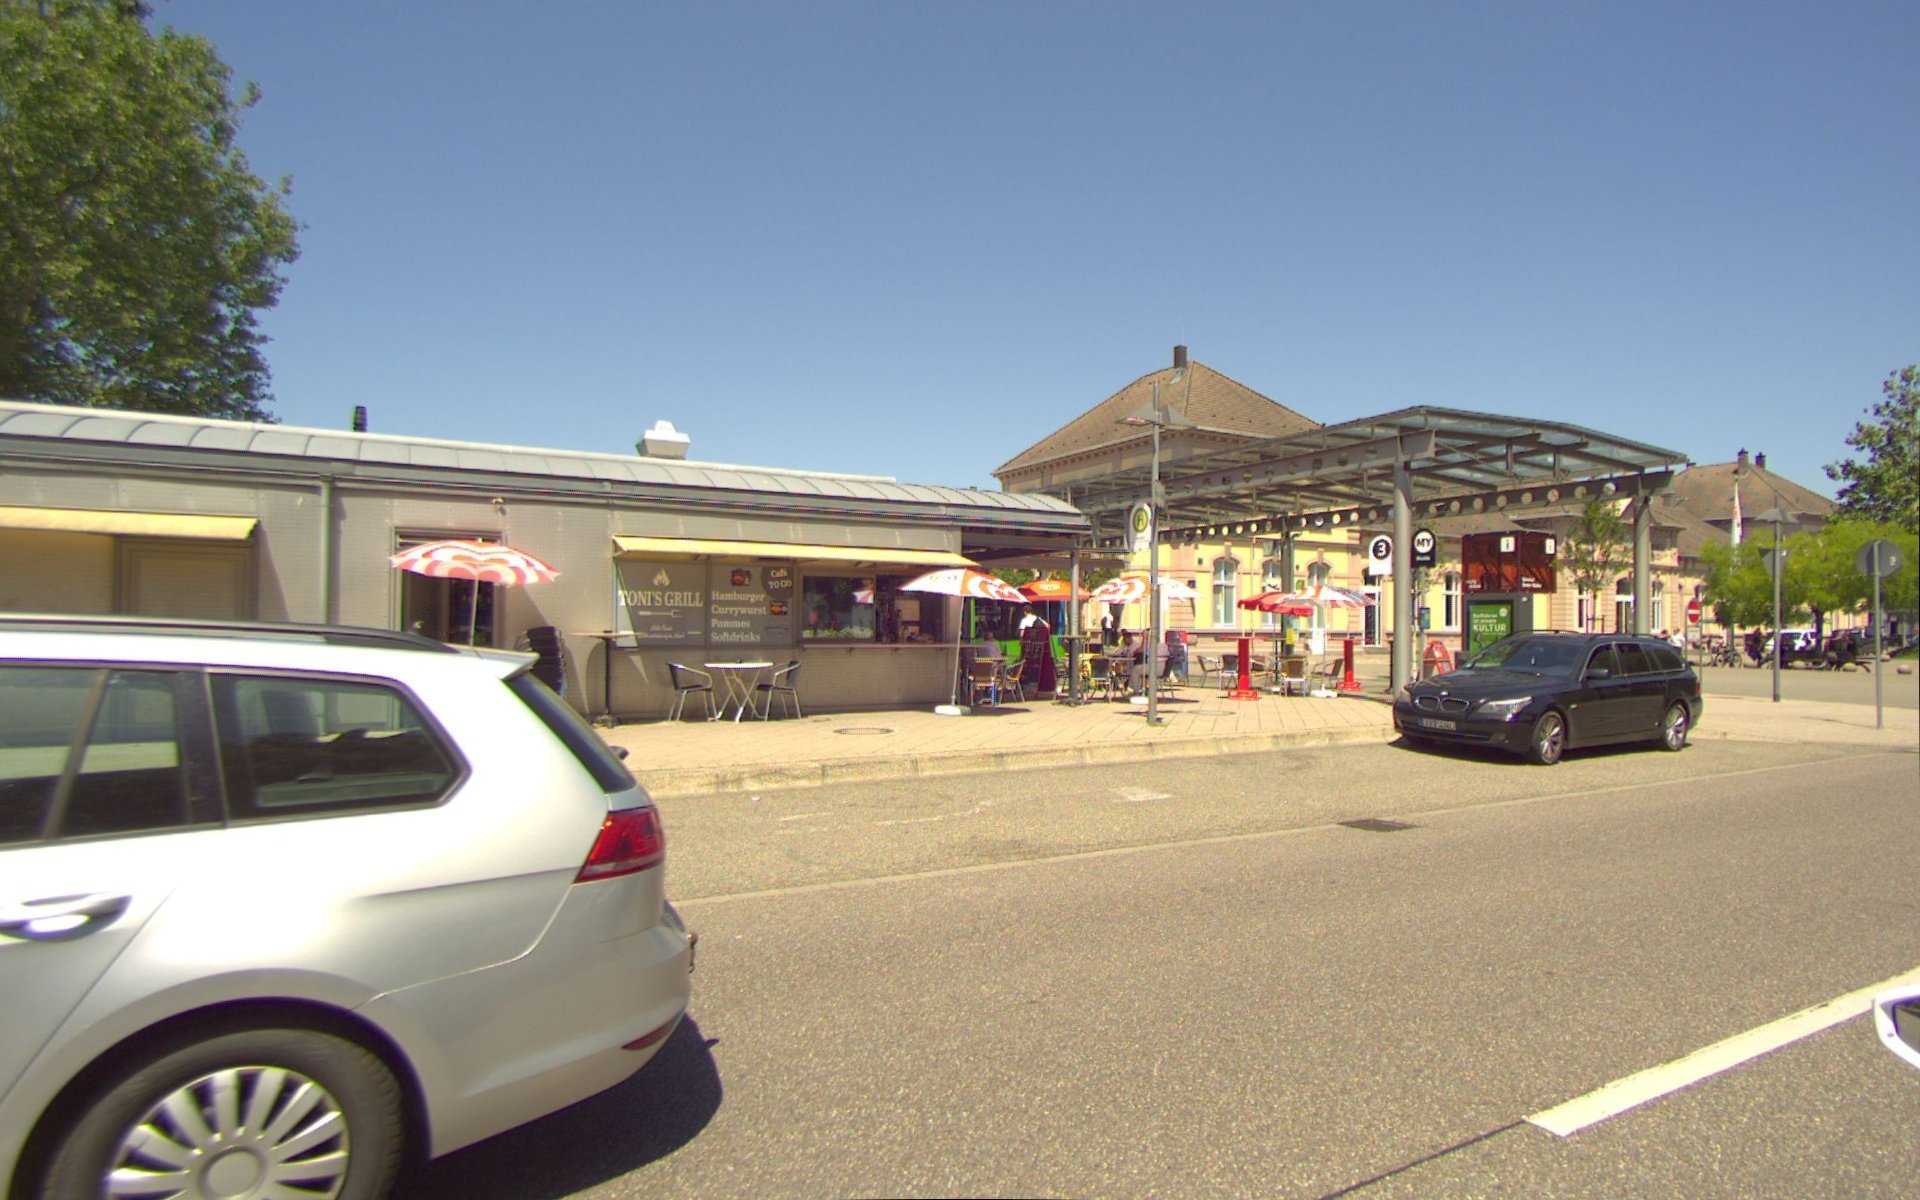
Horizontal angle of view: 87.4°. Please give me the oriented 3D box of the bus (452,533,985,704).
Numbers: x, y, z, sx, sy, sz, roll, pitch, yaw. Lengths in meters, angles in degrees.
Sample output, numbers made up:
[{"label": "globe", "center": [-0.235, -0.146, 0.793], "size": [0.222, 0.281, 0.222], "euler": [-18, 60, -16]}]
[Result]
[{"label": "bus", "center": [-5.214, 0.467, 23.286], "size": [11.697, 3.276, 2.954], "euler": [1, -2, -28]}]

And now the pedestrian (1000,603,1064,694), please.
[{"label": "pedestrian", "center": [1.511, 1.017, 21.262], "size": [1.122, 1.851, 0.800], "euler": [2, -2, -12]}]

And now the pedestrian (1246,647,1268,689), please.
[{"label": "pedestrian", "center": [6.760, 1.536, 22.878], "size": [0.365, 0.935, 0.425], "euler": [1, -2, 32]}]

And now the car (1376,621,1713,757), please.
[{"label": "car", "center": [7.669, 1.059, 13.051], "size": [4.730, 1.498, 1.710], "euler": [2, -2, -31]}]

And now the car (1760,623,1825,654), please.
[{"label": "car", "center": [54.625, 2.521, 65.877], "size": [4.718, 1.943, 1.743], "euler": [0, -1, -30]}]

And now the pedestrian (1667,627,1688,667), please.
[{"label": "pedestrian", "center": [31.890, 2.101, 44.646], "size": [0.574, 1.732, 0.588], "euler": [1, -2, 15]}]

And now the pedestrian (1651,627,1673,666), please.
[{"label": "pedestrian", "center": [31.182, 2.079, 44.620], "size": [0.644, 1.695, 0.632], "euler": [1, -2, 15]}]

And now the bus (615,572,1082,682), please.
[{"label": "bus", "center": [-3.119, 0.897, 33.001], "size": [15.318, 3.077, 2.857], "euler": [1, -2, -28]}]

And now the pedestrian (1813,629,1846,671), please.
[{"label": "pedestrian", "center": [35.754, 2.041, 41.292], "size": [0.708, 1.681, 0.761], "euler": [2, -2, -12]}]

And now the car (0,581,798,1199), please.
[{"label": "car", "center": [-2.652, 0.760, 2.419], "size": [4.107, 1.462, 1.808], "euler": [1, -5, -29]}]

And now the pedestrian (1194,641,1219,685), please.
[{"label": "pedestrian", "center": [5.553, 1.413, 22.592], "size": [0.366, 0.985, 0.425], "euler": [2, -2, -16]}]

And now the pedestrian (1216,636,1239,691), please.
[{"label": "pedestrian", "center": [5.635, 1.338, 21.167], "size": [0.417, 1.137, 0.372], "euler": [1, -2, 5]}]

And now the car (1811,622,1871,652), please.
[{"label": "car", "center": [60.501, 2.545, 68.962], "size": [3.953, 2.040, 1.984], "euler": [1, -2, -30]}]

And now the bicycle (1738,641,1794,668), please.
[{"label": "bicycle", "center": [32.869, 2.227, 41.002], "size": [1.771, 1.044, 0.487], "euler": [0, -1, 38]}]
